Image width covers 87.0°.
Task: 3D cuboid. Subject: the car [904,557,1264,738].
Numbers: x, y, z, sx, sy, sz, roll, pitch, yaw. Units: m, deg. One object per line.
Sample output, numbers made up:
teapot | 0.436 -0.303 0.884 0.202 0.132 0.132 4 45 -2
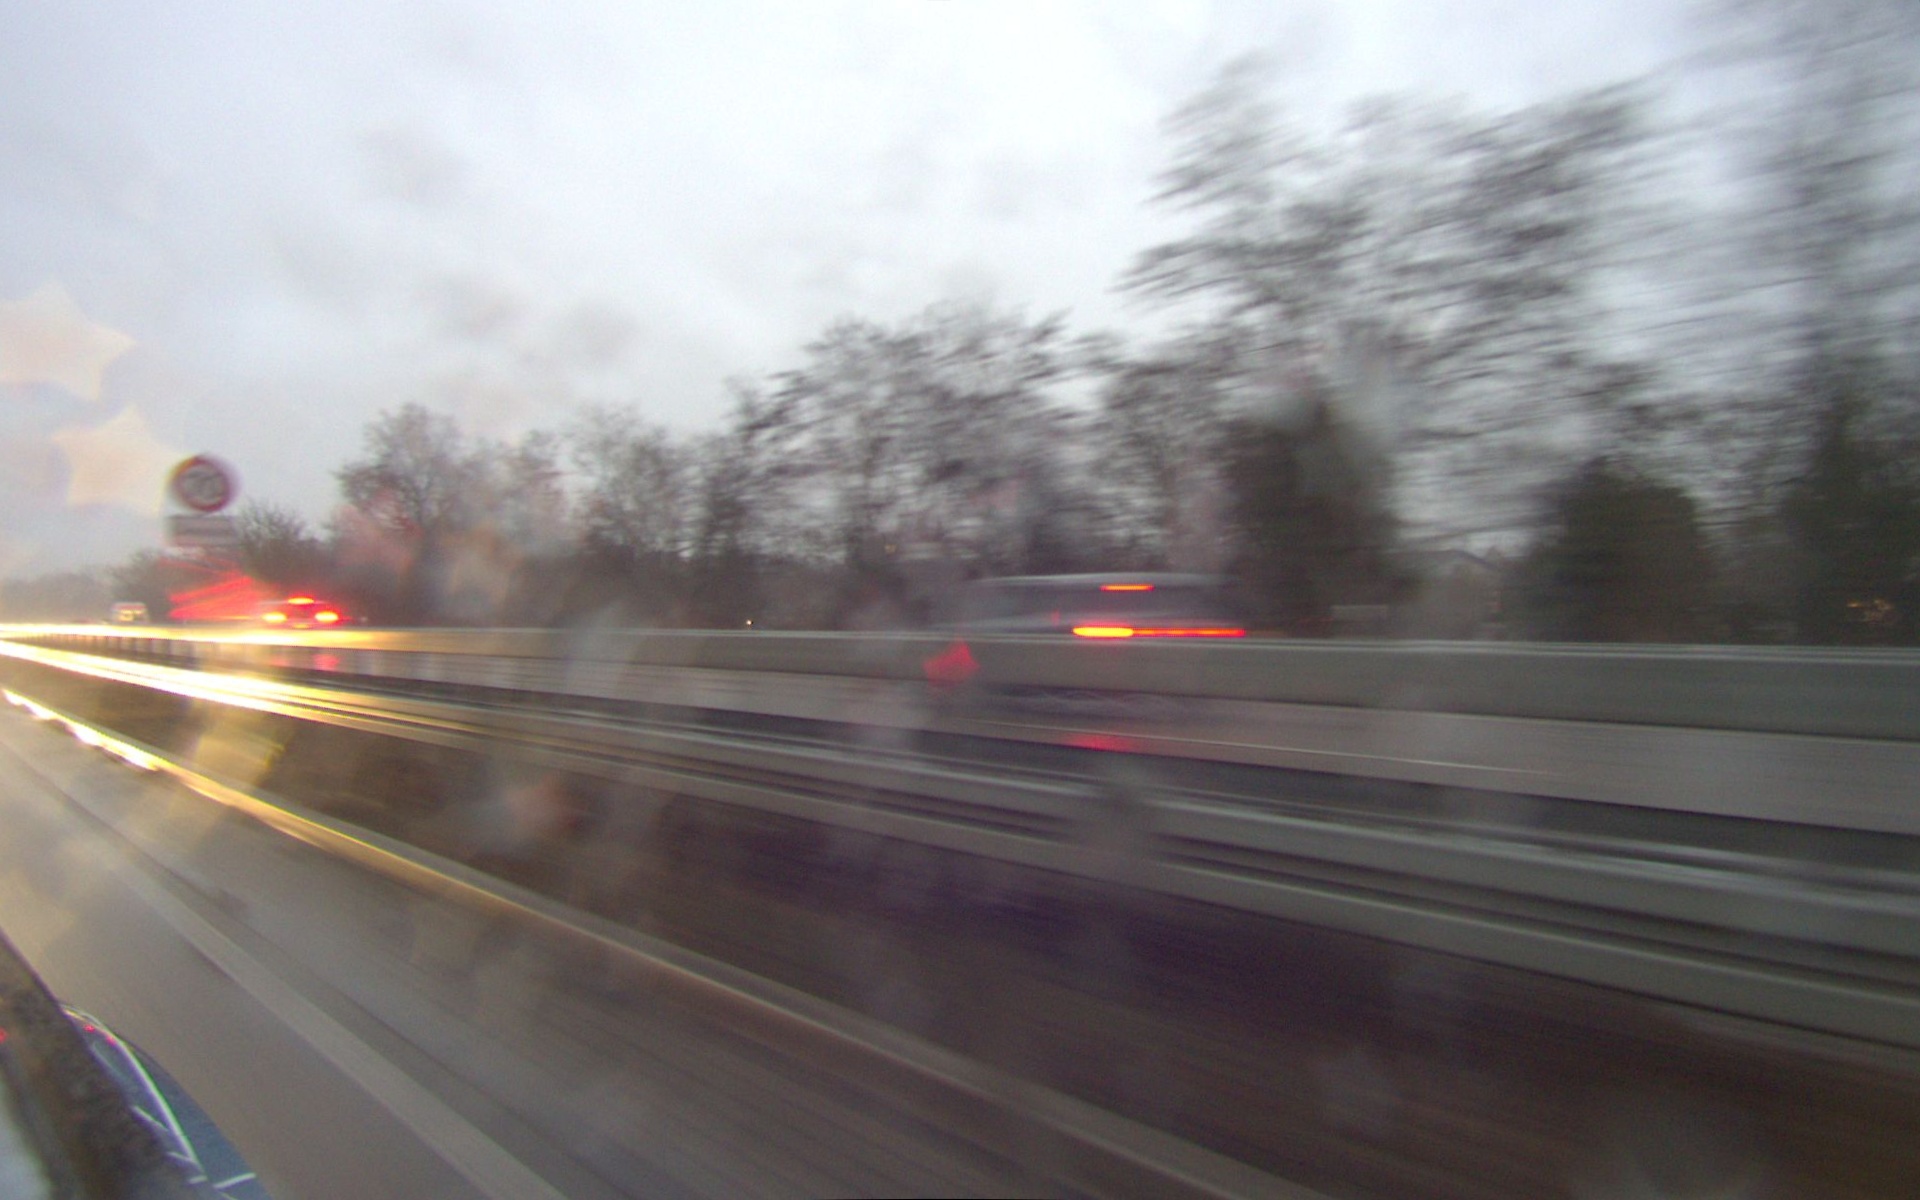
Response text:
car | 1.382 0.488 12.371 4.134 1.847 1.726 0 -1 42

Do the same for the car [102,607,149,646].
car | -55.467 1.761 67.203 5.418 2.455 1.825 -2 -1 44

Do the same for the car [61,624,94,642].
car | -76.412 2.857 87.638 4.305 1.540 1.825 -2 -1 44

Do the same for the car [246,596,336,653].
car | -24.949 0.858 37.655 4.539 1.988 1.913 0 0 45

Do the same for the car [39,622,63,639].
car | -109.596 3.662 121.986 4.305 1.929 1.825 -2 -1 44
